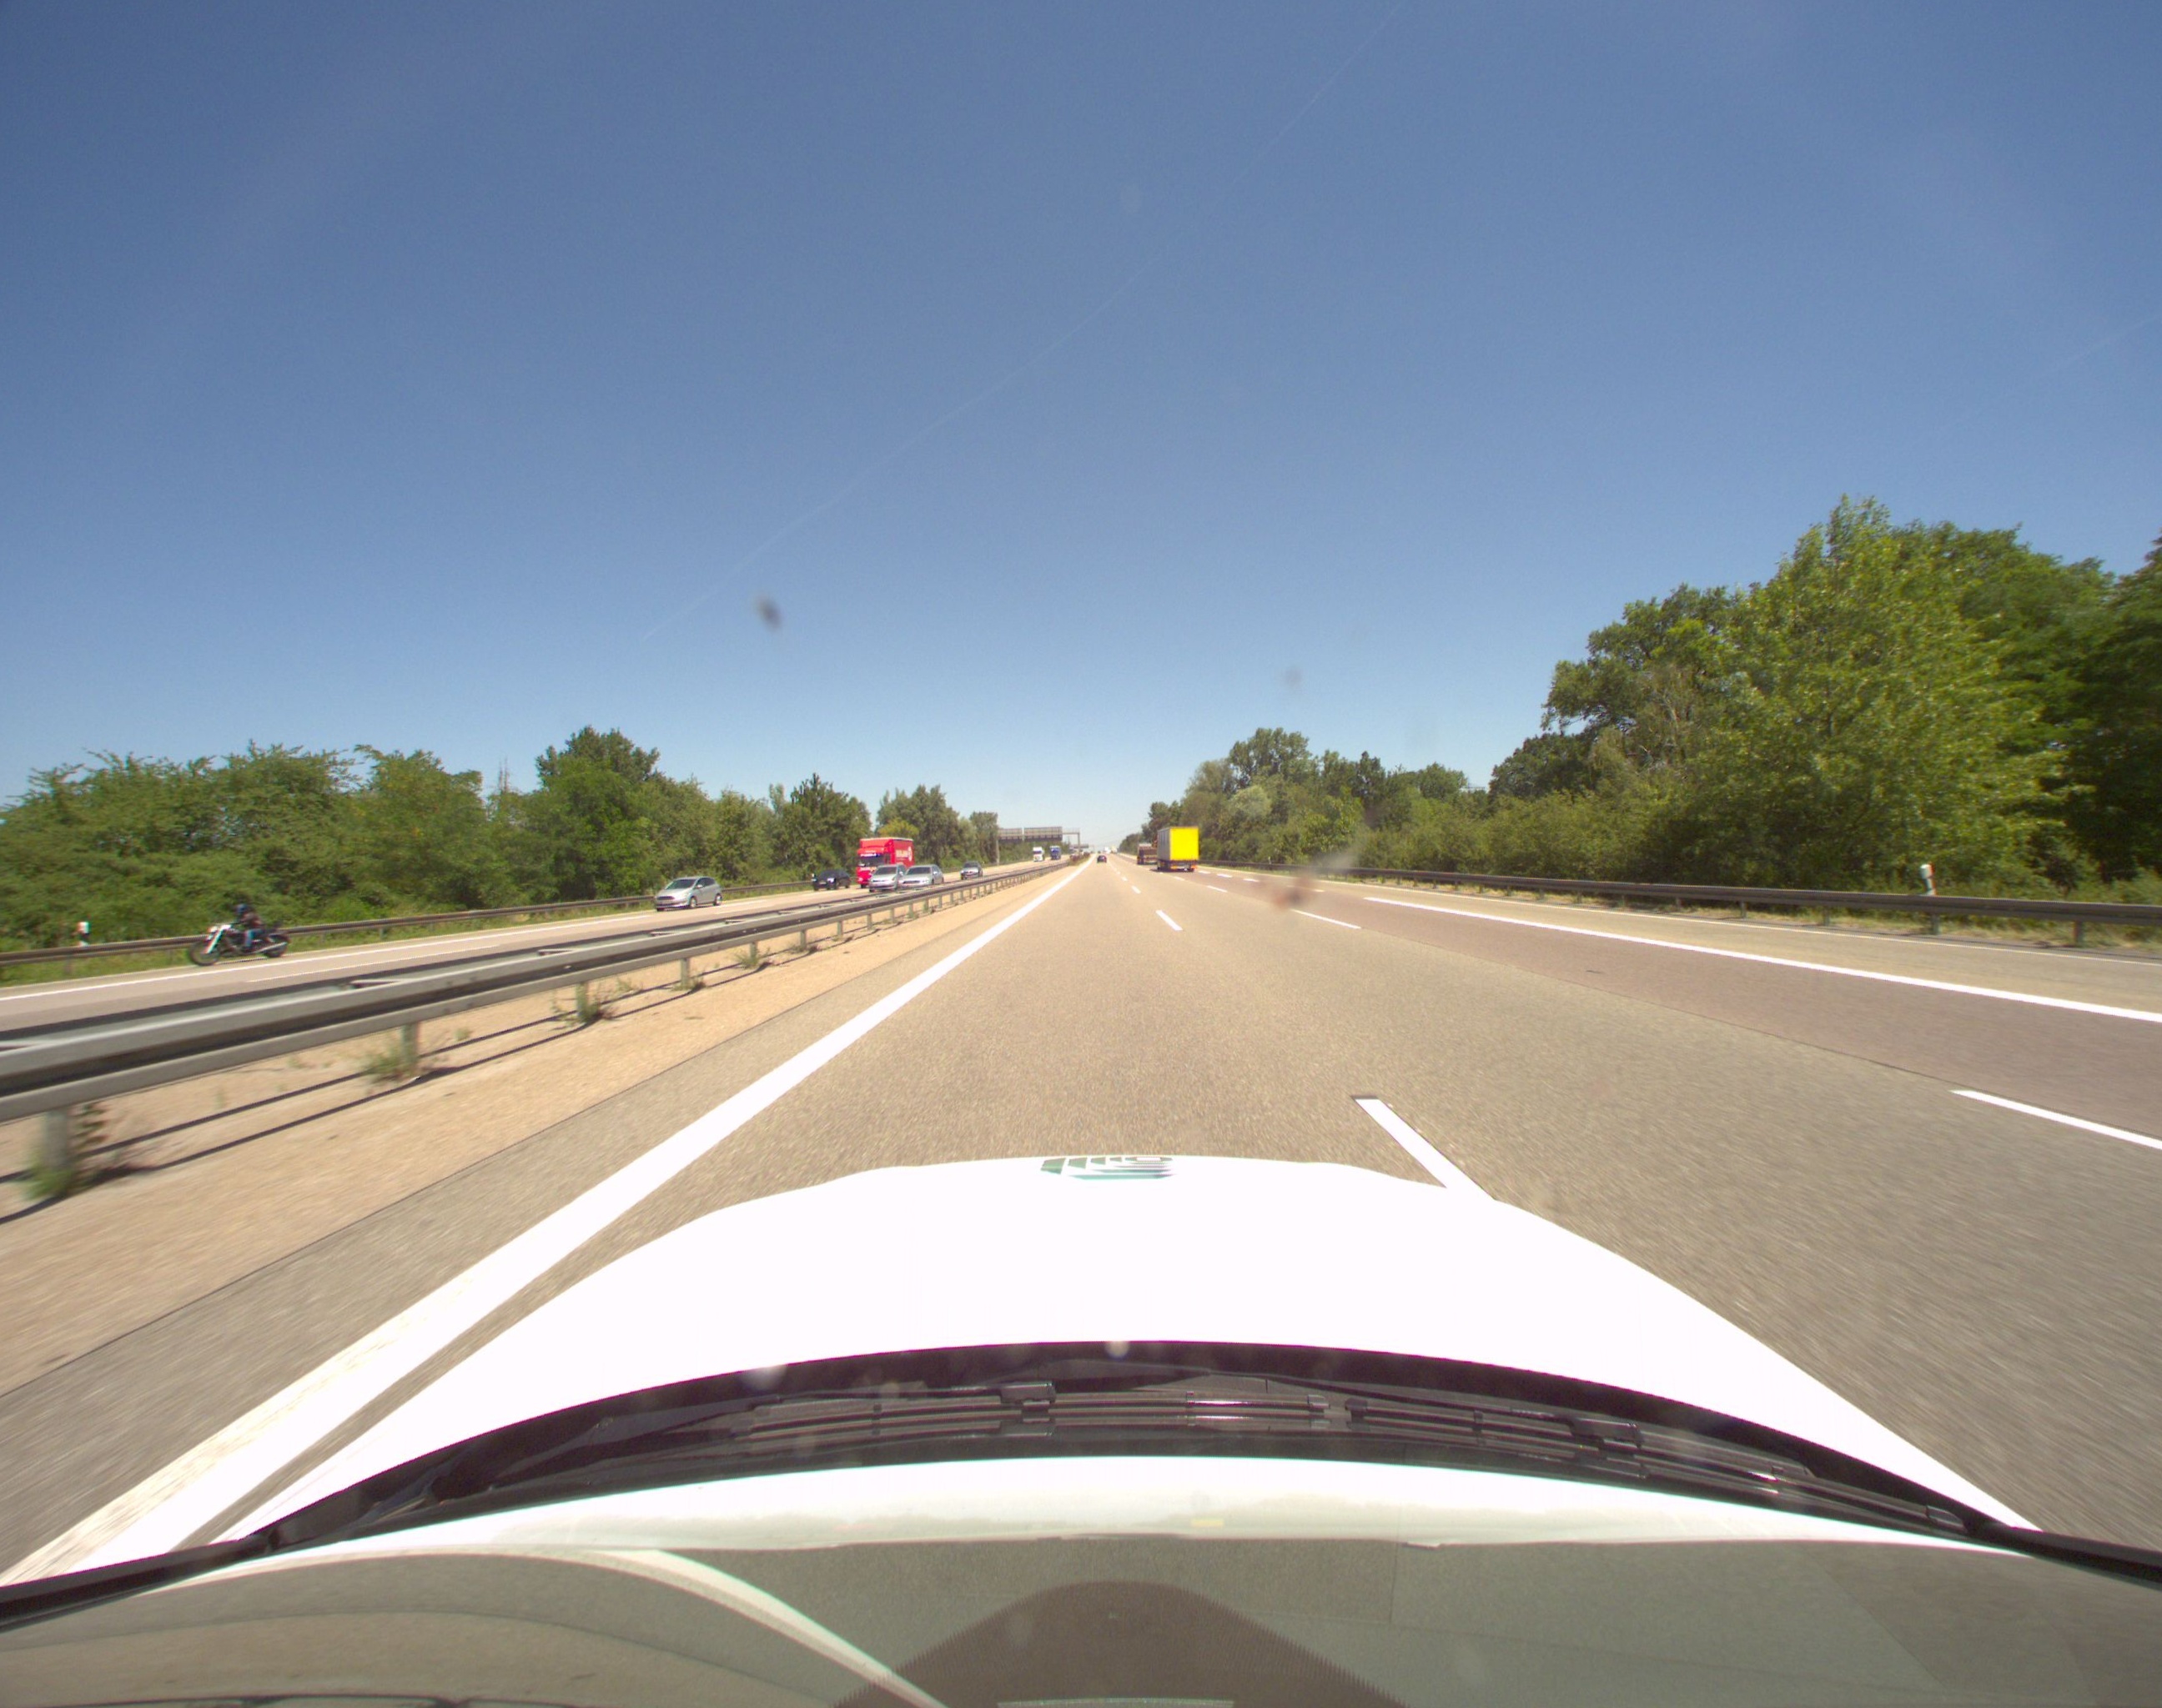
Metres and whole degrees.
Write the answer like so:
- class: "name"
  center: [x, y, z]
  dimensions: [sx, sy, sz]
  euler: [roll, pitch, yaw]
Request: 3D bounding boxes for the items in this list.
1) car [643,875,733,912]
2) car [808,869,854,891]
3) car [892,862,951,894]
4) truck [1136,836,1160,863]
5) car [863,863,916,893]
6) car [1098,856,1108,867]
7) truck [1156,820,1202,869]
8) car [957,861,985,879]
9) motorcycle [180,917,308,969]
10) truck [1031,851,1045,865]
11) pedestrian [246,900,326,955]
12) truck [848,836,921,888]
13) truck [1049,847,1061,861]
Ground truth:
- class: "car"
  center: [-19.653, 1.936, 40.960]
  dimensions: [1.986, 1.509, 4.723]
  euler: [-4, 0, 2]
- class: "car"
  center: [-19.607, 2.006, 64.045]
  dimensions: [1.985, 1.578, 4.272]
  euler: [-2, 0, 4]
- class: "car"
  center: [-8.733, 1.282, 45.054]
  dimensions: [1.986, 1.552, 5.226]
  euler: [-2, 0, 2]
- class: "truck"
  center: [10.666, -0.658, 130.445]
  dimensions: [2.958, 3.957, 16.619]
  euler: [-1, 0, 2]
- class: "car"
  center: [-11.895, 1.472, 50.804]
  dimensions: [1.986, 1.626, 4.546]
  euler: [-3, 0, 2]
- class: "car"
  center: [4.219, 1.476, 155.611]
  dimensions: [1.785, 2.014, 3.889]
  euler: [-1, -1, 2]
- class: "truck"
  center: [9.437, -0.761, 80.336]
  dimensions: [2.834, 4.257, 16.797]
  euler: [-2, 0, 2]
- class: "car"
  center: [-9.991, 1.420, 74.362]
  dimensions: [1.889, 1.506, 4.117]
  euler: [-2, 0, 1]
- class: "motorcycle"
  center: [-22.234, 2.338, 21.725]
  dimensions: [0.775, 1.112, 2.397]
  euler: [-2, 0, 5]
- class: "truck"
  center: [-12.839, 1.238, 242.823]
  dimensions: [2.945, 4.018, 15.823]
  euler: [-2, 0, 1]
- class: "pedestrian"
  center: [-22.200, 2.031, 22.771]
  dimensions: [0.771, 1.402, 1.421]
  euler: [-2, 0, 4]
- class: "truck"
  center: [-15.394, 0.599, 64.739]
  dimensions: [3.053, 3.727, 9.809]
  euler: [-2, 0, 2]
- class: "truck"
  center: [-8.076, 0.022, 256.592]
  dimensions: [2.945, 4.245, 17.184]
  euler: [-2, 0, 1]
